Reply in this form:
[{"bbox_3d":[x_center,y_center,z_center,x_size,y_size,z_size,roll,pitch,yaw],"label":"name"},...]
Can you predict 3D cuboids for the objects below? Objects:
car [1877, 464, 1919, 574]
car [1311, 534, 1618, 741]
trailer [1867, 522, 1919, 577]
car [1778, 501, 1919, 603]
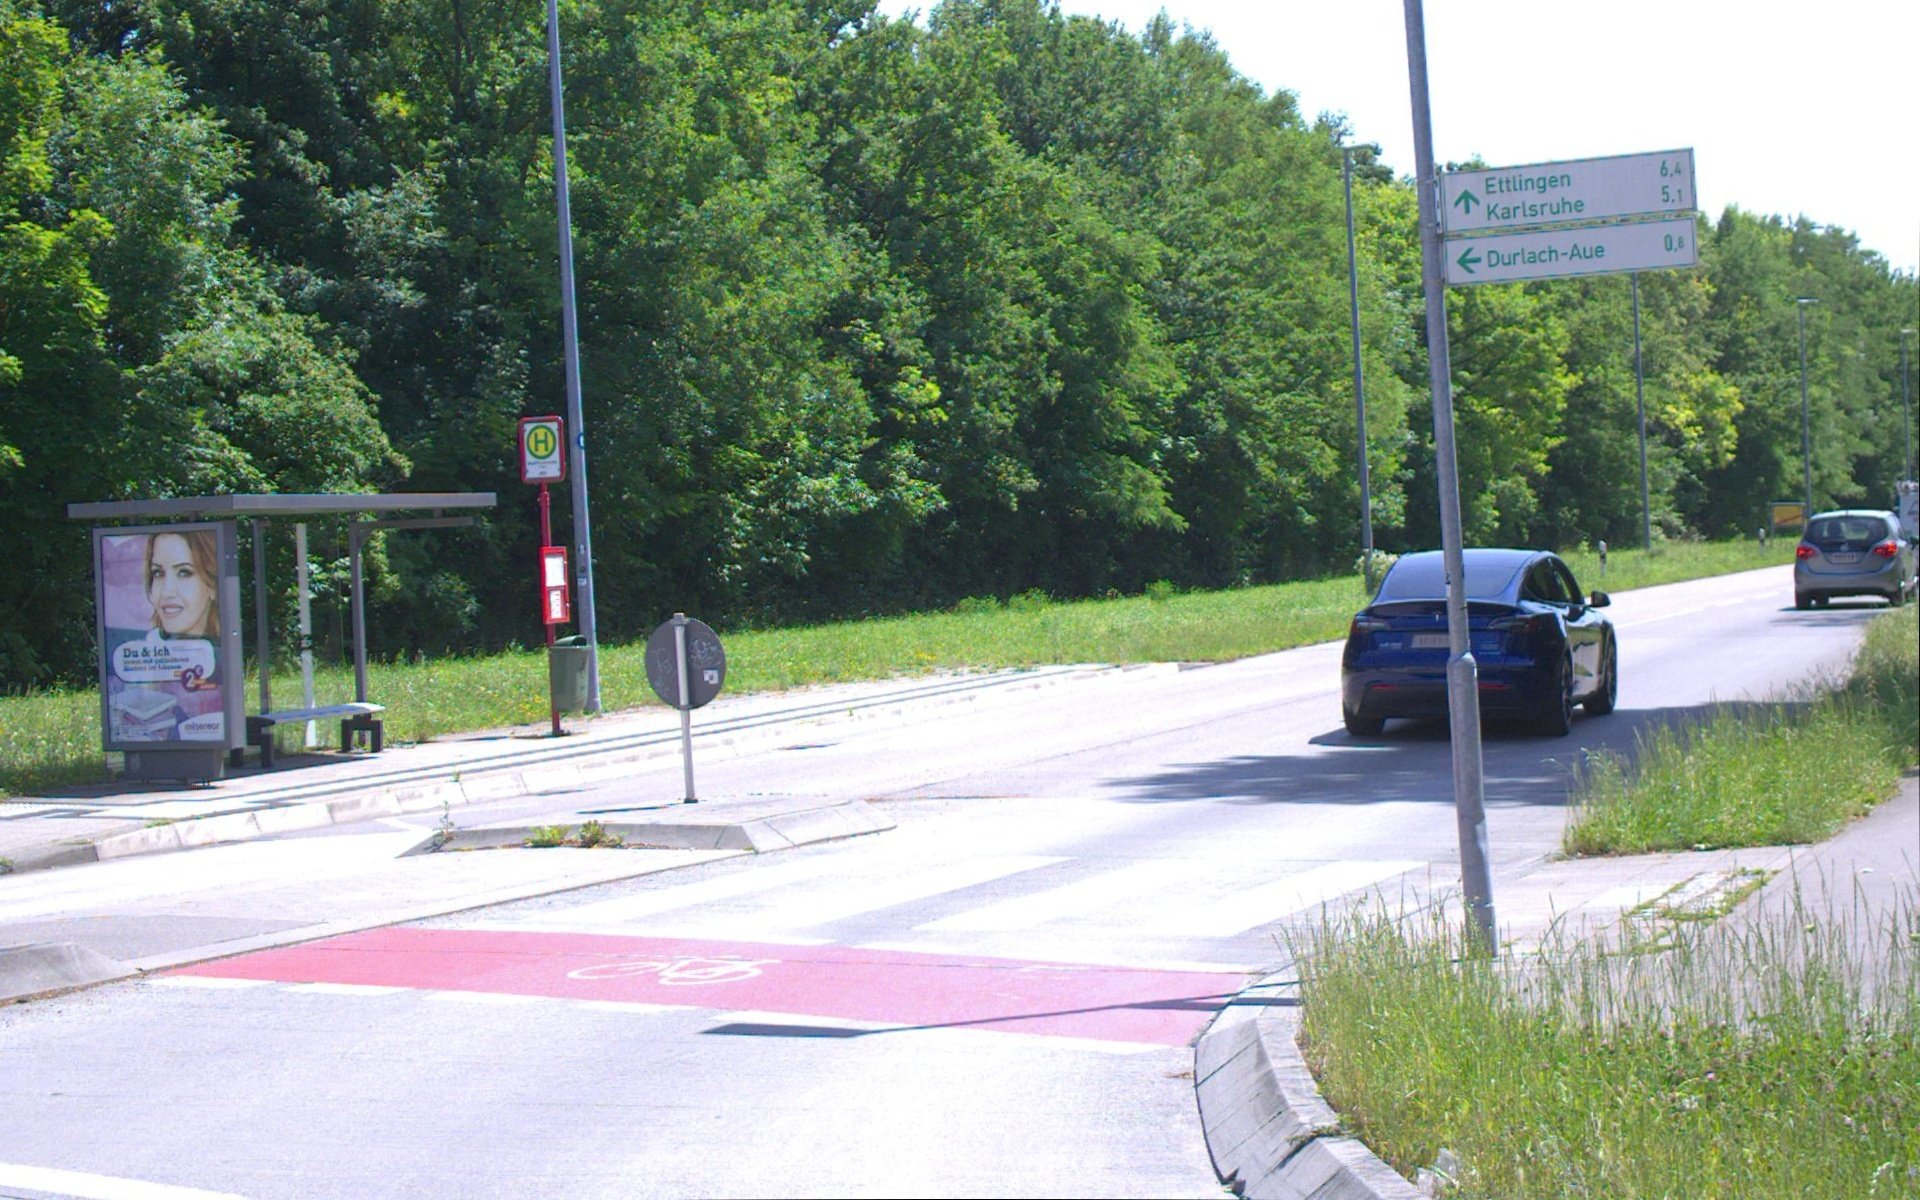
[{"bbox_3d":[21.505,-1.797,75.059,2.168,2.308,4.976,-1,1,22],"label":"car"},{"bbox_3d":[4.660,0.280,31.159,1.995,1.634,4.754,-2,1,17],"label":"car"},{"bbox_3d":[20.066,-1.069,71.220,2.123,1.093,3.351,-1,1,20],"label":"trailer"},{"bbox_3d":[15.007,-0.825,57.570,1.787,1.601,4.122,-1,1,24],"label":"car"}]
